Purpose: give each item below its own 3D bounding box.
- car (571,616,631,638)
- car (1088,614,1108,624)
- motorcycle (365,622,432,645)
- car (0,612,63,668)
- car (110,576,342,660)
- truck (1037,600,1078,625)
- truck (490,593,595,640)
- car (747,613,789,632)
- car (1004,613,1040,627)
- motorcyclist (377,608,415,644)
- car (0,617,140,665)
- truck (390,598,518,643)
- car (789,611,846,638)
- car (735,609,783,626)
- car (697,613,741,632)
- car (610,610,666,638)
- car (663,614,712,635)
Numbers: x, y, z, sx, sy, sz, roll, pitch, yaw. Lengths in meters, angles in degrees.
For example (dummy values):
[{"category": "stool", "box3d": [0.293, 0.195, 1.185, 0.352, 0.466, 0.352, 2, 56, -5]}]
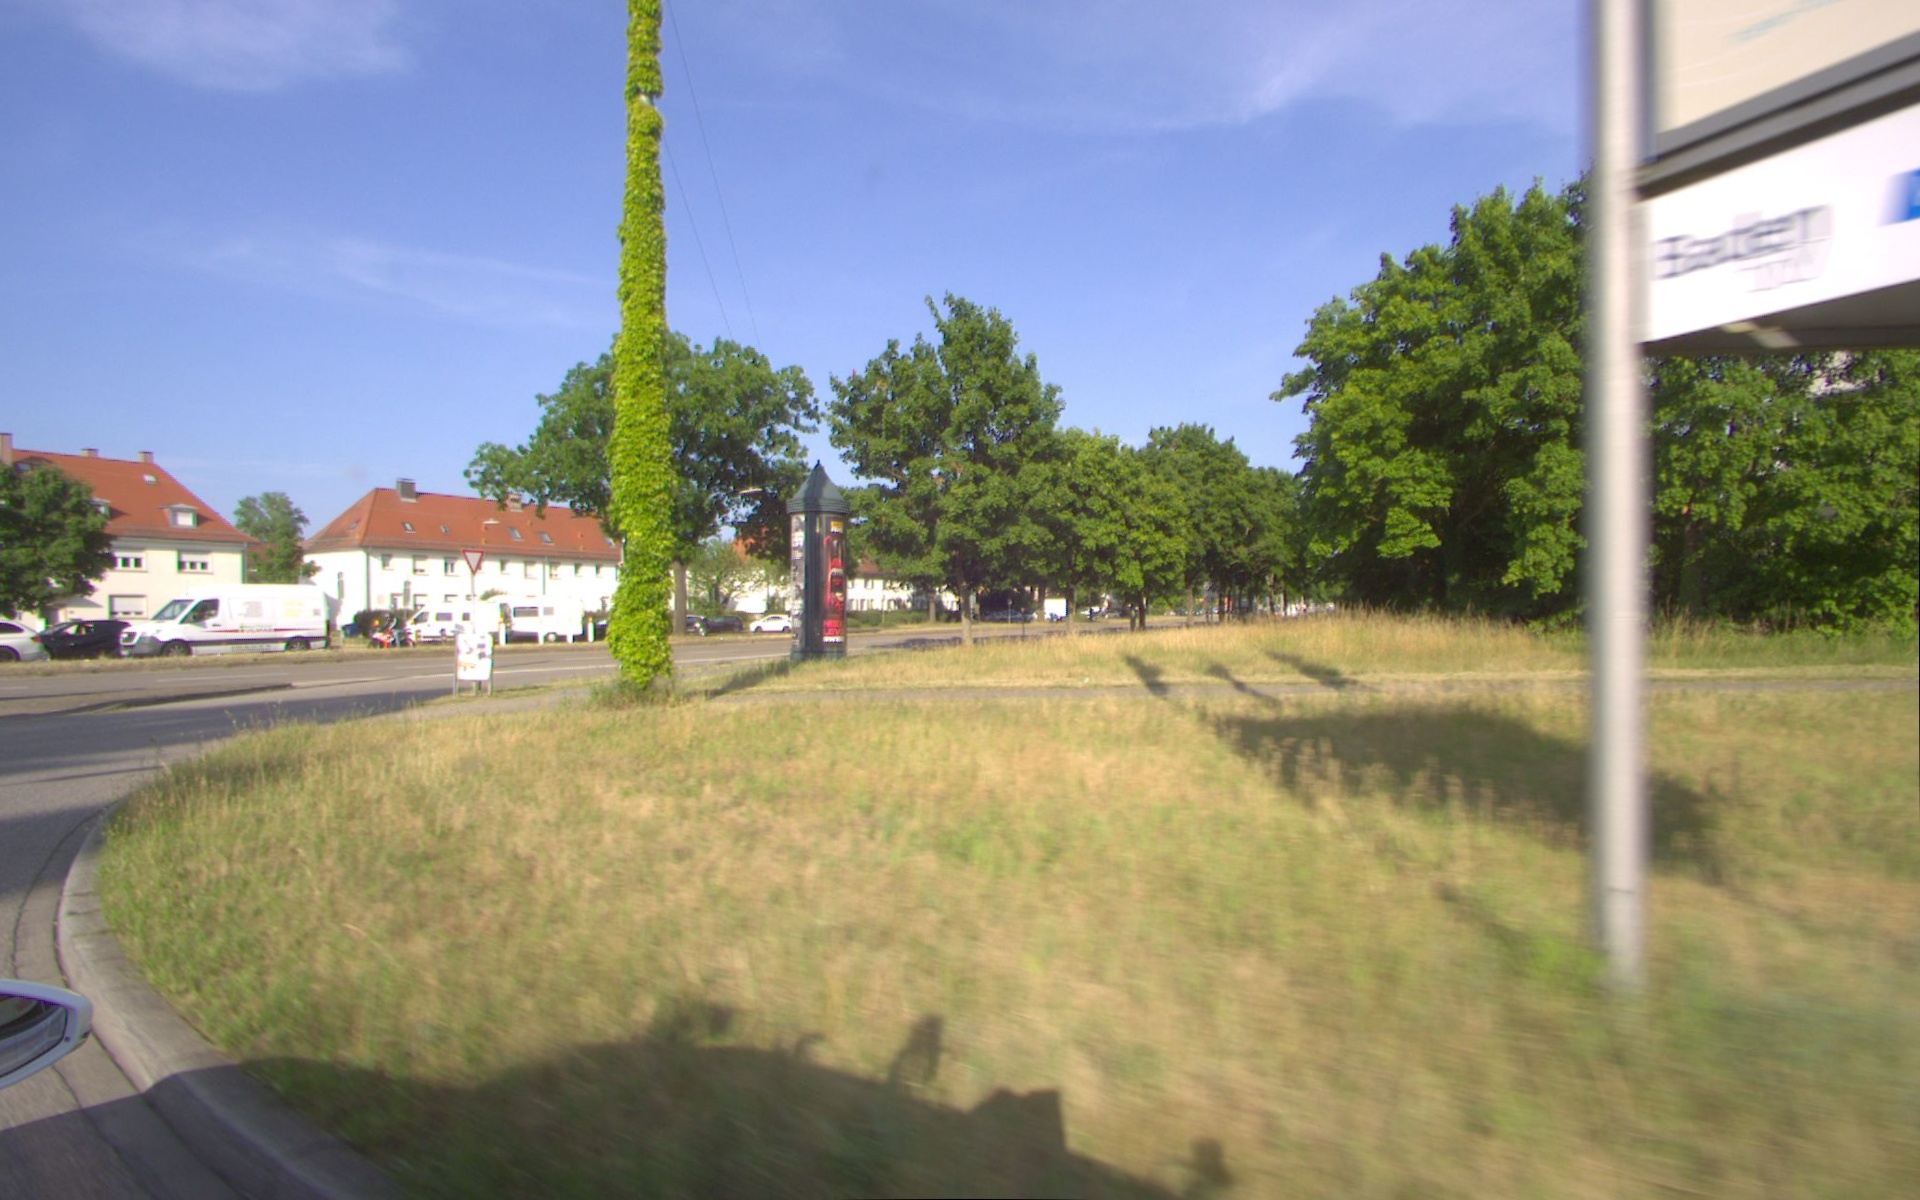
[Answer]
[{"category": "car", "box3d": [-24.975, 1.870, 69.662, 3.843, 1.475, 1.891, 0, -1, -20]}, {"category": "car", "box3d": [19.215, 2.592, 139.184, 1.688, 1.371, 3.987, -1, -1, 25]}, {"category": "motorcycle", "box3d": [-21.718, 1.290, 38.782, 0.680, 0.878, 2.270, -1, -1, 28]}, {"category": "car", "box3d": [-28.519, 1.129, 27.786, 1.812, 1.583, 5.089, -1, -1, 29]}, {"category": "car", "box3d": [-24.975, 0.621, 34.437, 1.969, 2.617, 6.203, -1, -1, 29]}, {"category": "truck", "box3d": [13.931, 1.760, 142.932, 5.413, 3.510, 1.994, 0, 0, -22]}, {"category": "truck", "box3d": [-26.625, 1.031, 64.080, 5.972, 2.892, 1.892, 0, 0, -18]}, {"category": "car", "box3d": [-16.226, 1.890, 84.500, 3.370, 1.533, 1.894, 0, -1, -13]}, {"category": "car", "box3d": [8.165, 2.621, 131.947, 4.458, 1.745, 1.997, 0, -1, -15]}, {"category": "motorcyclist", "box3d": [-21.774, 1.012, 38.665, 0.669, 1.369, 1.065, 0, 0, 28]}, {"category": "car", "box3d": [-29.696, 1.304, 32.878, 1.690, 1.472, 3.983, -1, -1, 29]}, {"category": "truck", "box3d": [-29.379, 1.197, 58.322, 6.235, 2.557, 2.277, 0, 0, -6]}, {"category": "car", "box3d": [-12.854, 2.195, 90.276, 4.891, 2.261, 1.996, 0, 0, -17]}, {"category": "car", "box3d": [-21.540, 1.853, 107.278, 4.903, 1.741, 1.992, -1, -1, 28]}, {"category": "car", "box3d": [-19.560, 1.825, 81.313, 3.370, 1.533, 1.894, 0, -1, -13]}, {"category": "car", "box3d": [-23.321, 1.707, 72.595, 3.840, 1.945, 1.893, 0, 0, -17]}, {"category": "car", "box3d": [-20.570, 1.838, 75.692, 3.435, 1.533, 1.894, 0, -1, -13]}]
